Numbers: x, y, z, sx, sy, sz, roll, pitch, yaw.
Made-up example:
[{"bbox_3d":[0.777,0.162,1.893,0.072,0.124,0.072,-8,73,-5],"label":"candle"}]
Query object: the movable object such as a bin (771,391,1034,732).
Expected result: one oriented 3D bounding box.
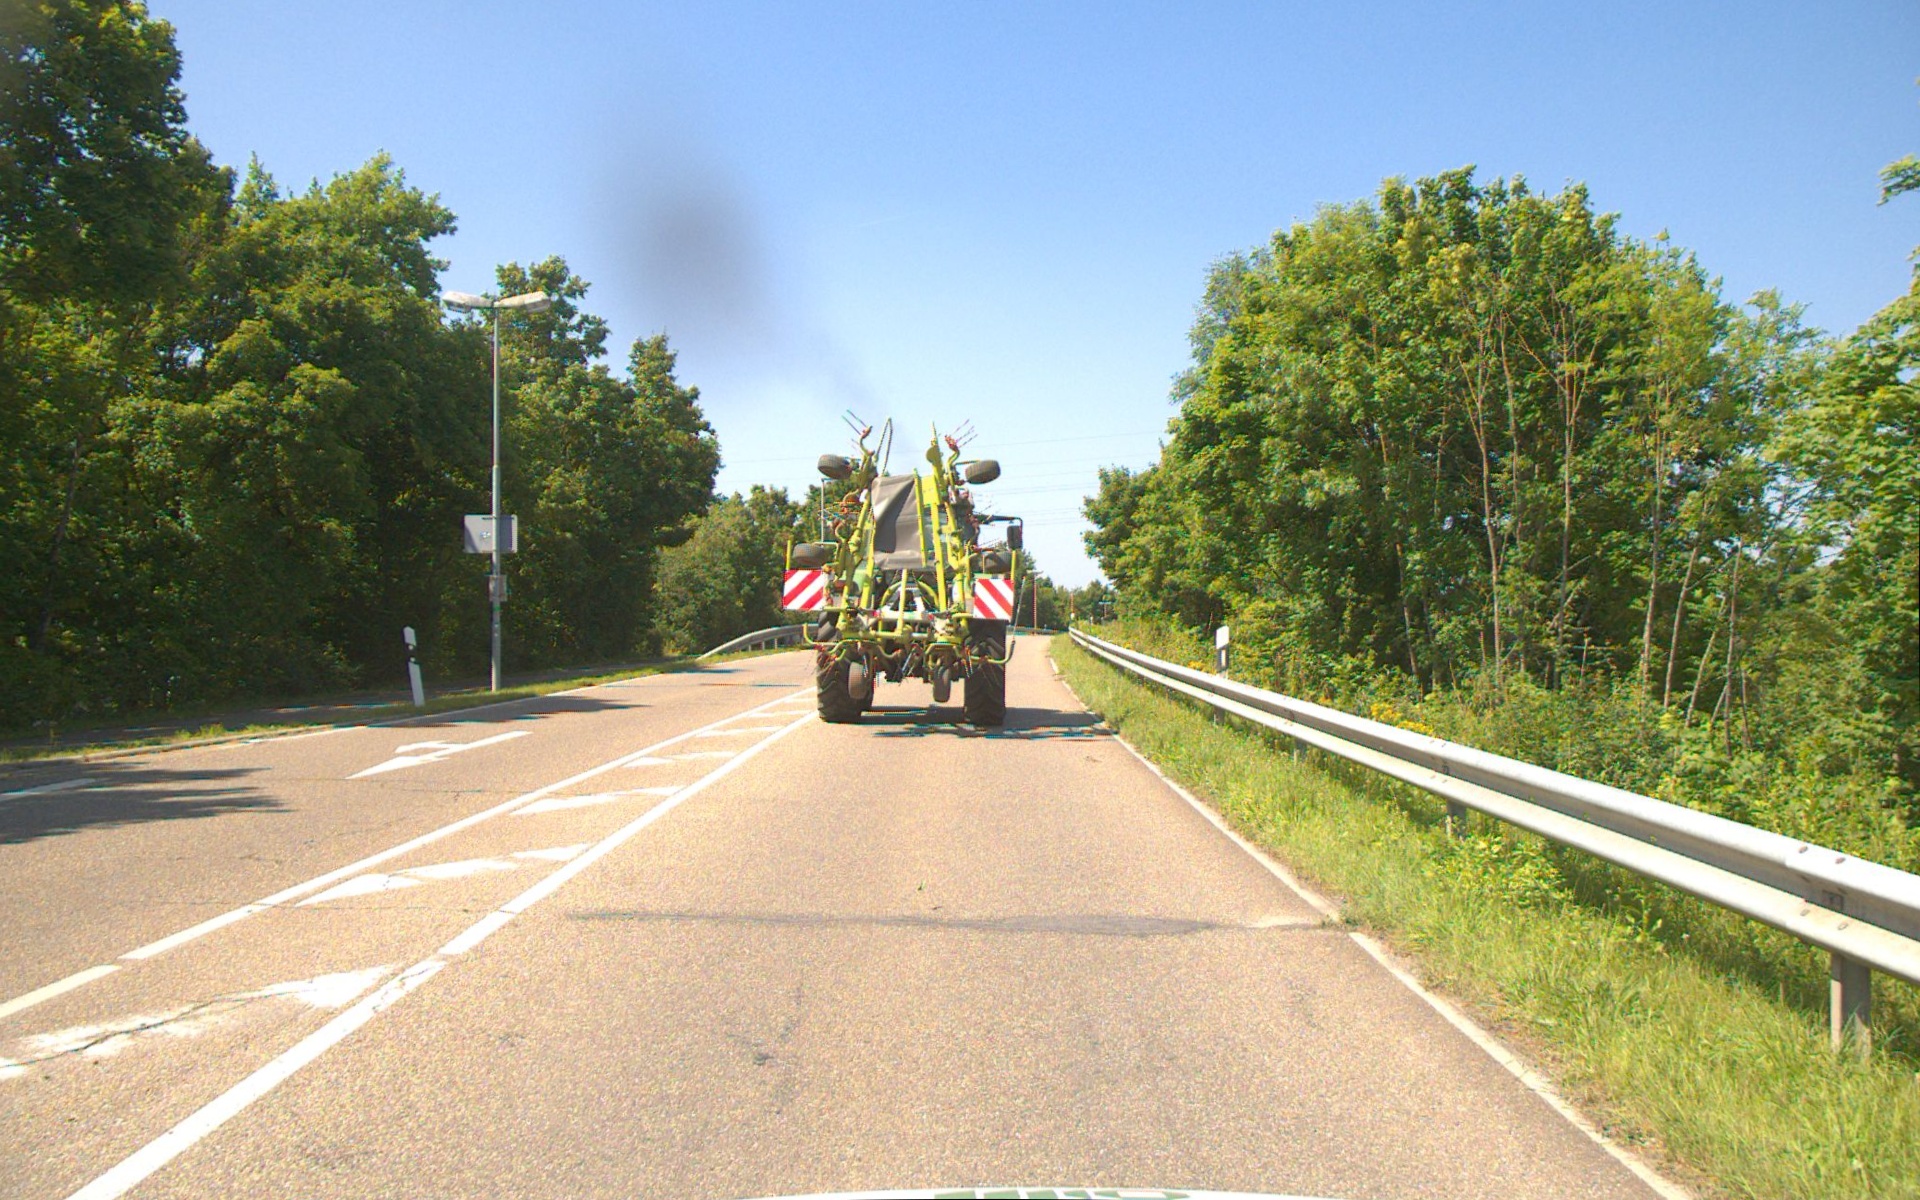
[{"bbox_3d":[-0.552,-0.363,19.920,2.698,3.504,5.670,0,-1,1],"label":"movable object such as a bin"}]
